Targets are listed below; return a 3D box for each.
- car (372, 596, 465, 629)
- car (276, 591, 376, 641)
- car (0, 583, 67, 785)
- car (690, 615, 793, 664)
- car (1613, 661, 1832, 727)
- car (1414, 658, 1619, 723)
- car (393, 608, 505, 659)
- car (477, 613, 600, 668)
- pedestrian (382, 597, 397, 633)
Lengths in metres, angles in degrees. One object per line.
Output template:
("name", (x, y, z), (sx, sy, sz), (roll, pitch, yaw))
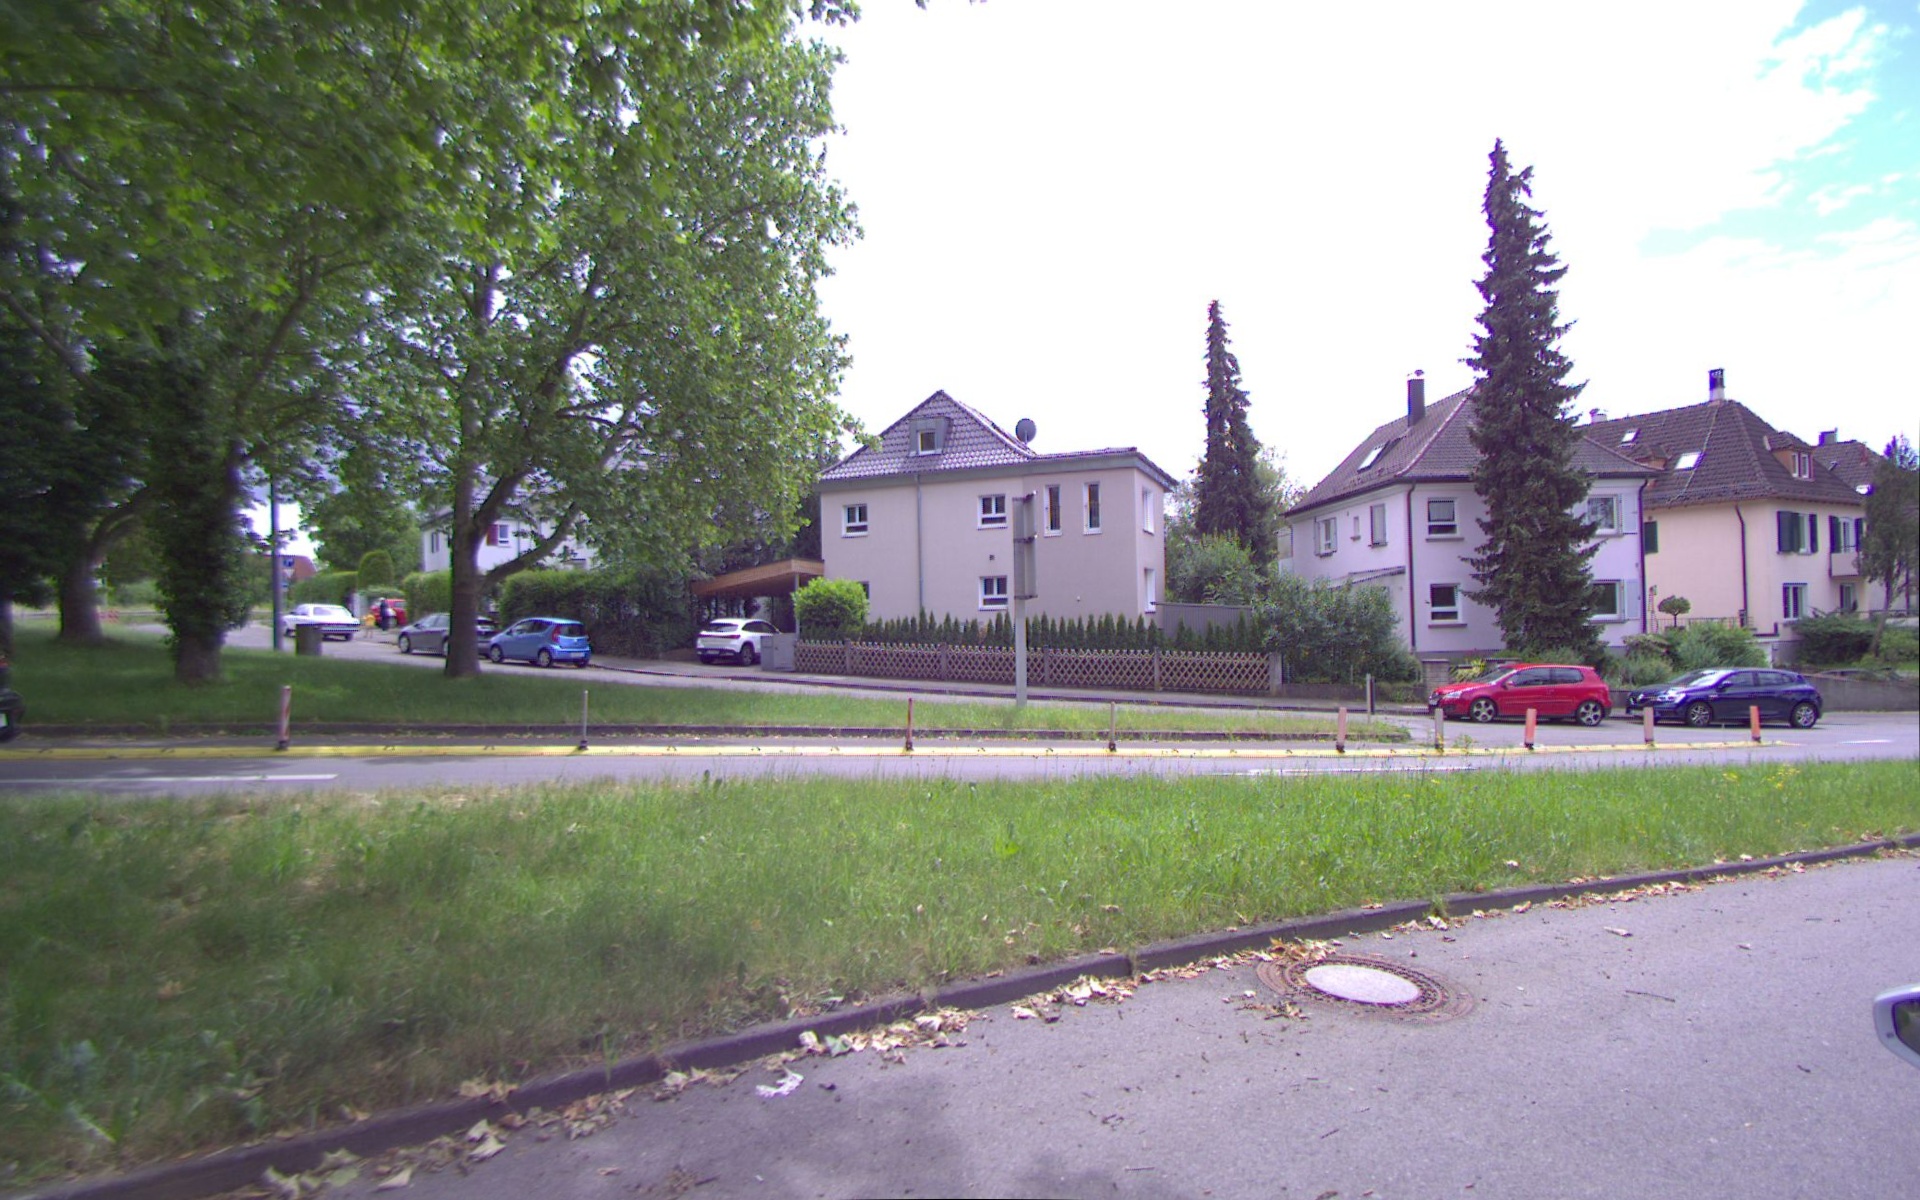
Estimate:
("car", (-27.012, 0.644, 50.149), (3.796, 1.537, 1.590), (2, -1, -42))
("car", (-26.677, 0.619, 42.197), (4.809, 1.815, 2.206), (3, 2, 40))
("car", (-9.793, 0.547, 7.273), (4.542, 1.612, 1.755), (3, -2, -19))
("car", (-7.724, 1.381, 35.815), (1.841, 1.568, 3.375), (-2, -1, 27))
("car", (18.945, 2.311, 25.072), (4.231, 1.493, 1.732), (1, -2, -2))
("car", (13.930, 2.249, 25.316), (4.193, 1.493, 1.733), (1, -2, 3))
("car", (-18.253, 1.152, 35.865), (3.925, 1.534, 1.659), (2, 2, 29))
("car", (-14.147, 1.309, 33.701), (3.708, 1.576, 1.781), (2, 2, 26))
("pedestrian", (-25.598, 0.656, 45.084), (0.565, 1.585, 0.638), (-1, 0, -30))
